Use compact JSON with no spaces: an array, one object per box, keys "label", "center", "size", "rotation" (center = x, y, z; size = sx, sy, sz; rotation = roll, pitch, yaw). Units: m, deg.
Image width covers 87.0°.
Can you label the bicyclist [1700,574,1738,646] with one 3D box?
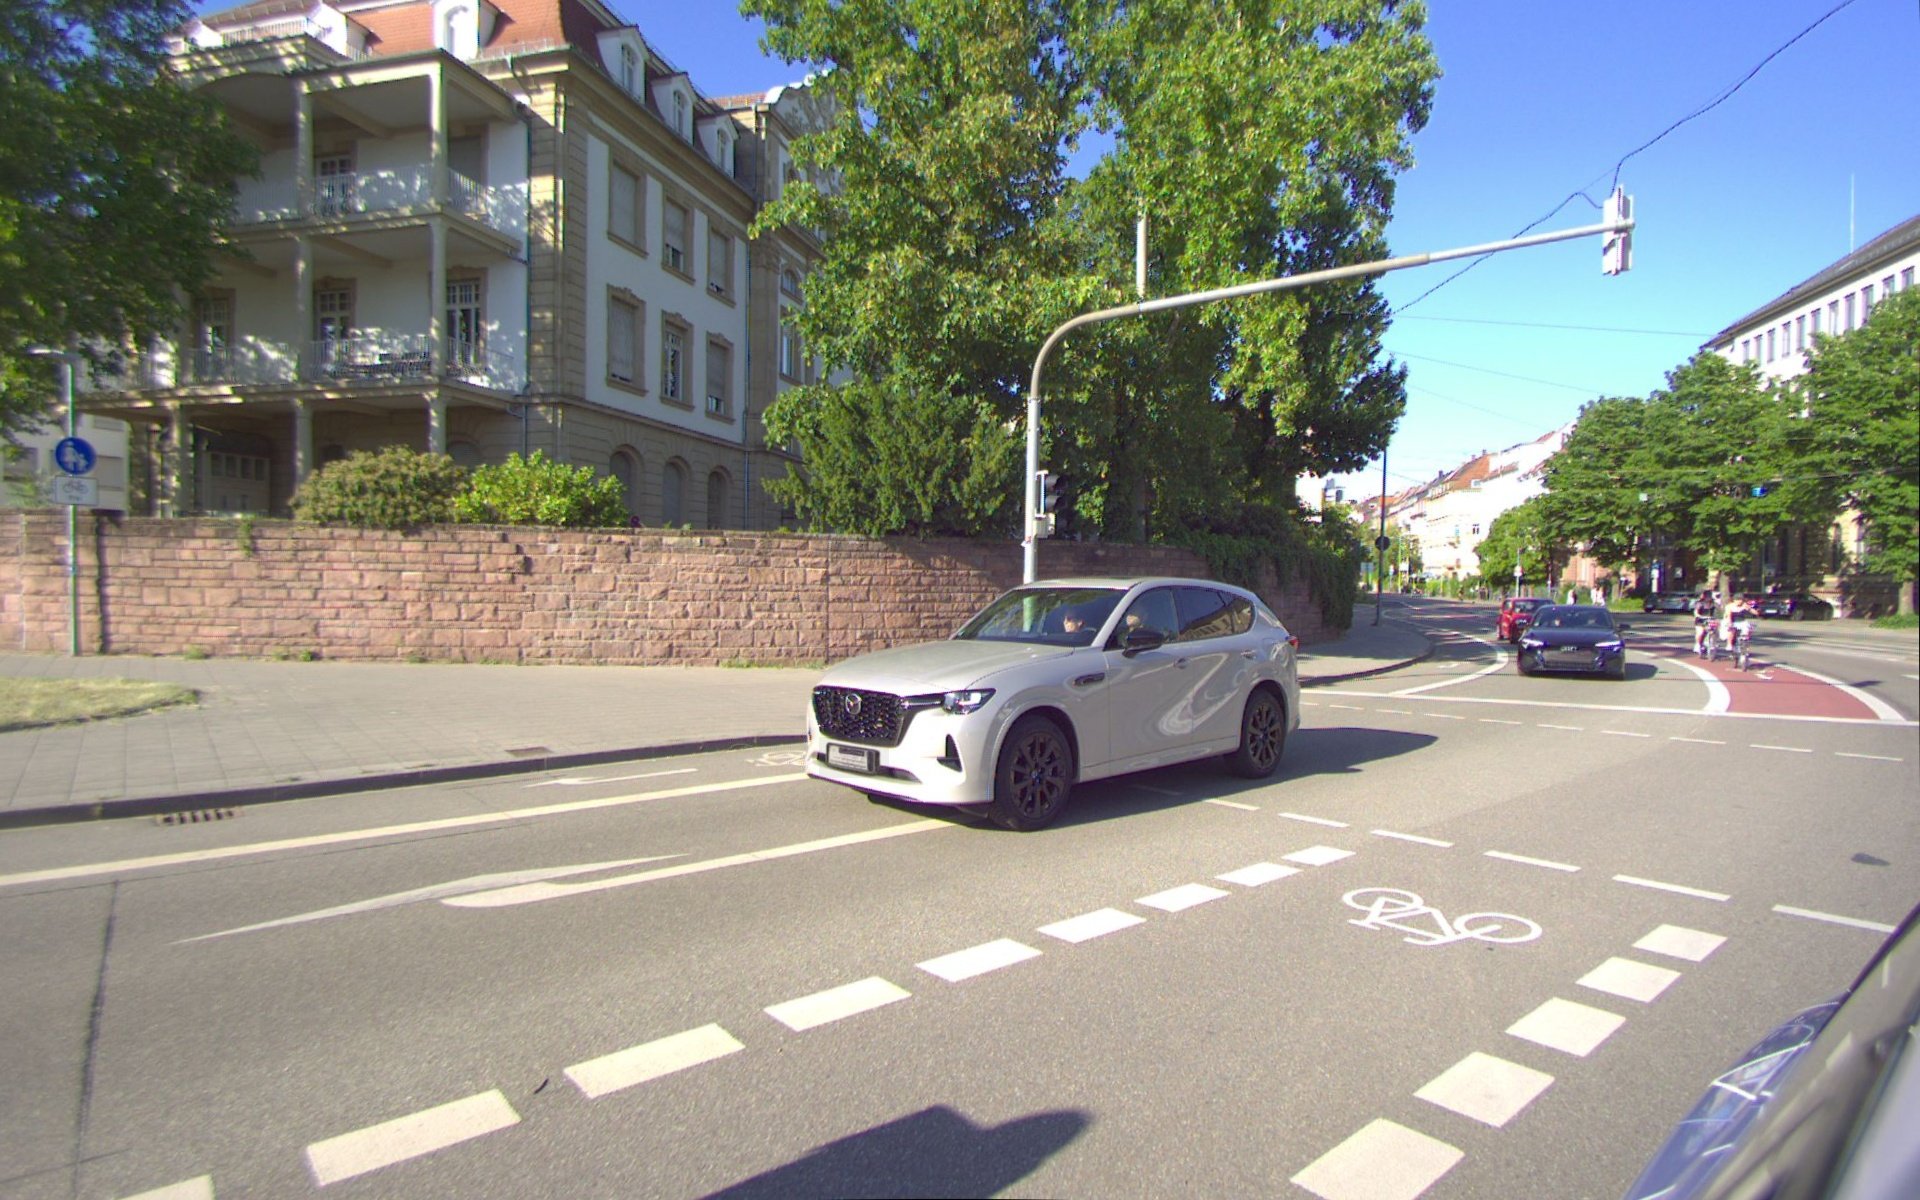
[{"label":"bicyclist","center":[18.150,0.231,24.225],"size":[0.672,1.668,1.016],"rotation":[2,1,36]}]

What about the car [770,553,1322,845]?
[{"label":"car","center":[0.908,0.528,8.167],"size":[4.455,1.713,1.943],"rotation":[-2,1,-42]}]

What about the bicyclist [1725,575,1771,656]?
[{"label":"bicyclist","center":[16.744,0.308,21.520],"size":[0.671,1.668,1.016],"rotation":[2,1,35]}]

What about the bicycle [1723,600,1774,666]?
[{"label":"bicycle","center":[16.724,0.663,21.506],"size":[0.672,1.266,2.426],"rotation":[2,2,34]}]

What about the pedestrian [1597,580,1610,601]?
[{"label":"pedestrian","center":[50.649,-0.759,79.687],"size":[0.666,1.668,0.813],"rotation":[0,1,17]}]

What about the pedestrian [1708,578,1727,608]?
[{"label":"pedestrian","center":[42.167,-0.384,56.318],"size":[0.669,1.668,0.810],"rotation":[1,1,25]}]

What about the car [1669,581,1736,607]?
[{"label":"car","center":[47.740,-0.385,65.040],"size":[3.573,1.580,1.653],"rotation":[-1,1,-17]}]

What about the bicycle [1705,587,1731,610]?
[{"label":"bicycle","center":[42.167,-0.092,56.324],"size":[0.669,1.266,2.435],"rotation":[1,1,26]}]

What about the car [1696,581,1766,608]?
[{"label":"car","center":[47.691,-0.333,62.600],"size":[3.573,1.580,1.653],"rotation":[-1,1,-17]}]

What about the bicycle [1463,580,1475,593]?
[{"label":"bicycle","center":[51.631,-1.340,102.635],"size":[0.667,1.266,2.444],"rotation":[1,1,16]}]

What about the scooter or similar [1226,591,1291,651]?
[{"label":"scooter or similar","center":[6.582,0.449,22.284],"size":[1.396,1.285,0.576],"rotation":[0,1,-33]}]

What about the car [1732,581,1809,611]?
[{"label":"car","center":[45.807,-0.256,57.214],"size":[3.573,1.580,1.653],"rotation":[-1,1,-17]}]

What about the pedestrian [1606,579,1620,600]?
[{"label":"pedestrian","center":[51.329,-0.845,79.551],"size":[0.666,1.668,0.813],"rotation":[0,1,17]}]

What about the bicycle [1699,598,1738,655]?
[{"label":"bicycle","center":[18.210,0.608,24.319],"size":[0.672,1.266,2.425],"rotation":[2,2,36]}]

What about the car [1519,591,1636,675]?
[{"label":"car","center":[12.486,0.582,20.362],"size":[1.777,1.451,3.951],"rotation":[-1,1,35]}]

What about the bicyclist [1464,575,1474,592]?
[{"label":"bicyclist","center":[51.602,-1.651,102.561],"size":[0.666,1.668,1.024],"rotation":[1,1,17]}]

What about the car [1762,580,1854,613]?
[{"label":"car","center":[45.568,-0.182,54.393],"size":[4.093,1.651,1.850],"rotation":[-1,1,-17]}]

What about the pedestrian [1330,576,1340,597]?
[{"label":"pedestrian","center":[30.391,-1.094,82.064],"size":[0.666,1.668,0.813],"rotation":[0,1,17]}]

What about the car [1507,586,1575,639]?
[{"label":"car","center":[18.736,0.353,32.750],"size":[1.633,1.580,3.618],"rotation":[-1,1,26]}]

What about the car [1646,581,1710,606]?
[{"label":"car","center":[48.544,-0.470,68.411],"size":[3.573,1.580,1.653],"rotation":[-1,1,-17]}]
